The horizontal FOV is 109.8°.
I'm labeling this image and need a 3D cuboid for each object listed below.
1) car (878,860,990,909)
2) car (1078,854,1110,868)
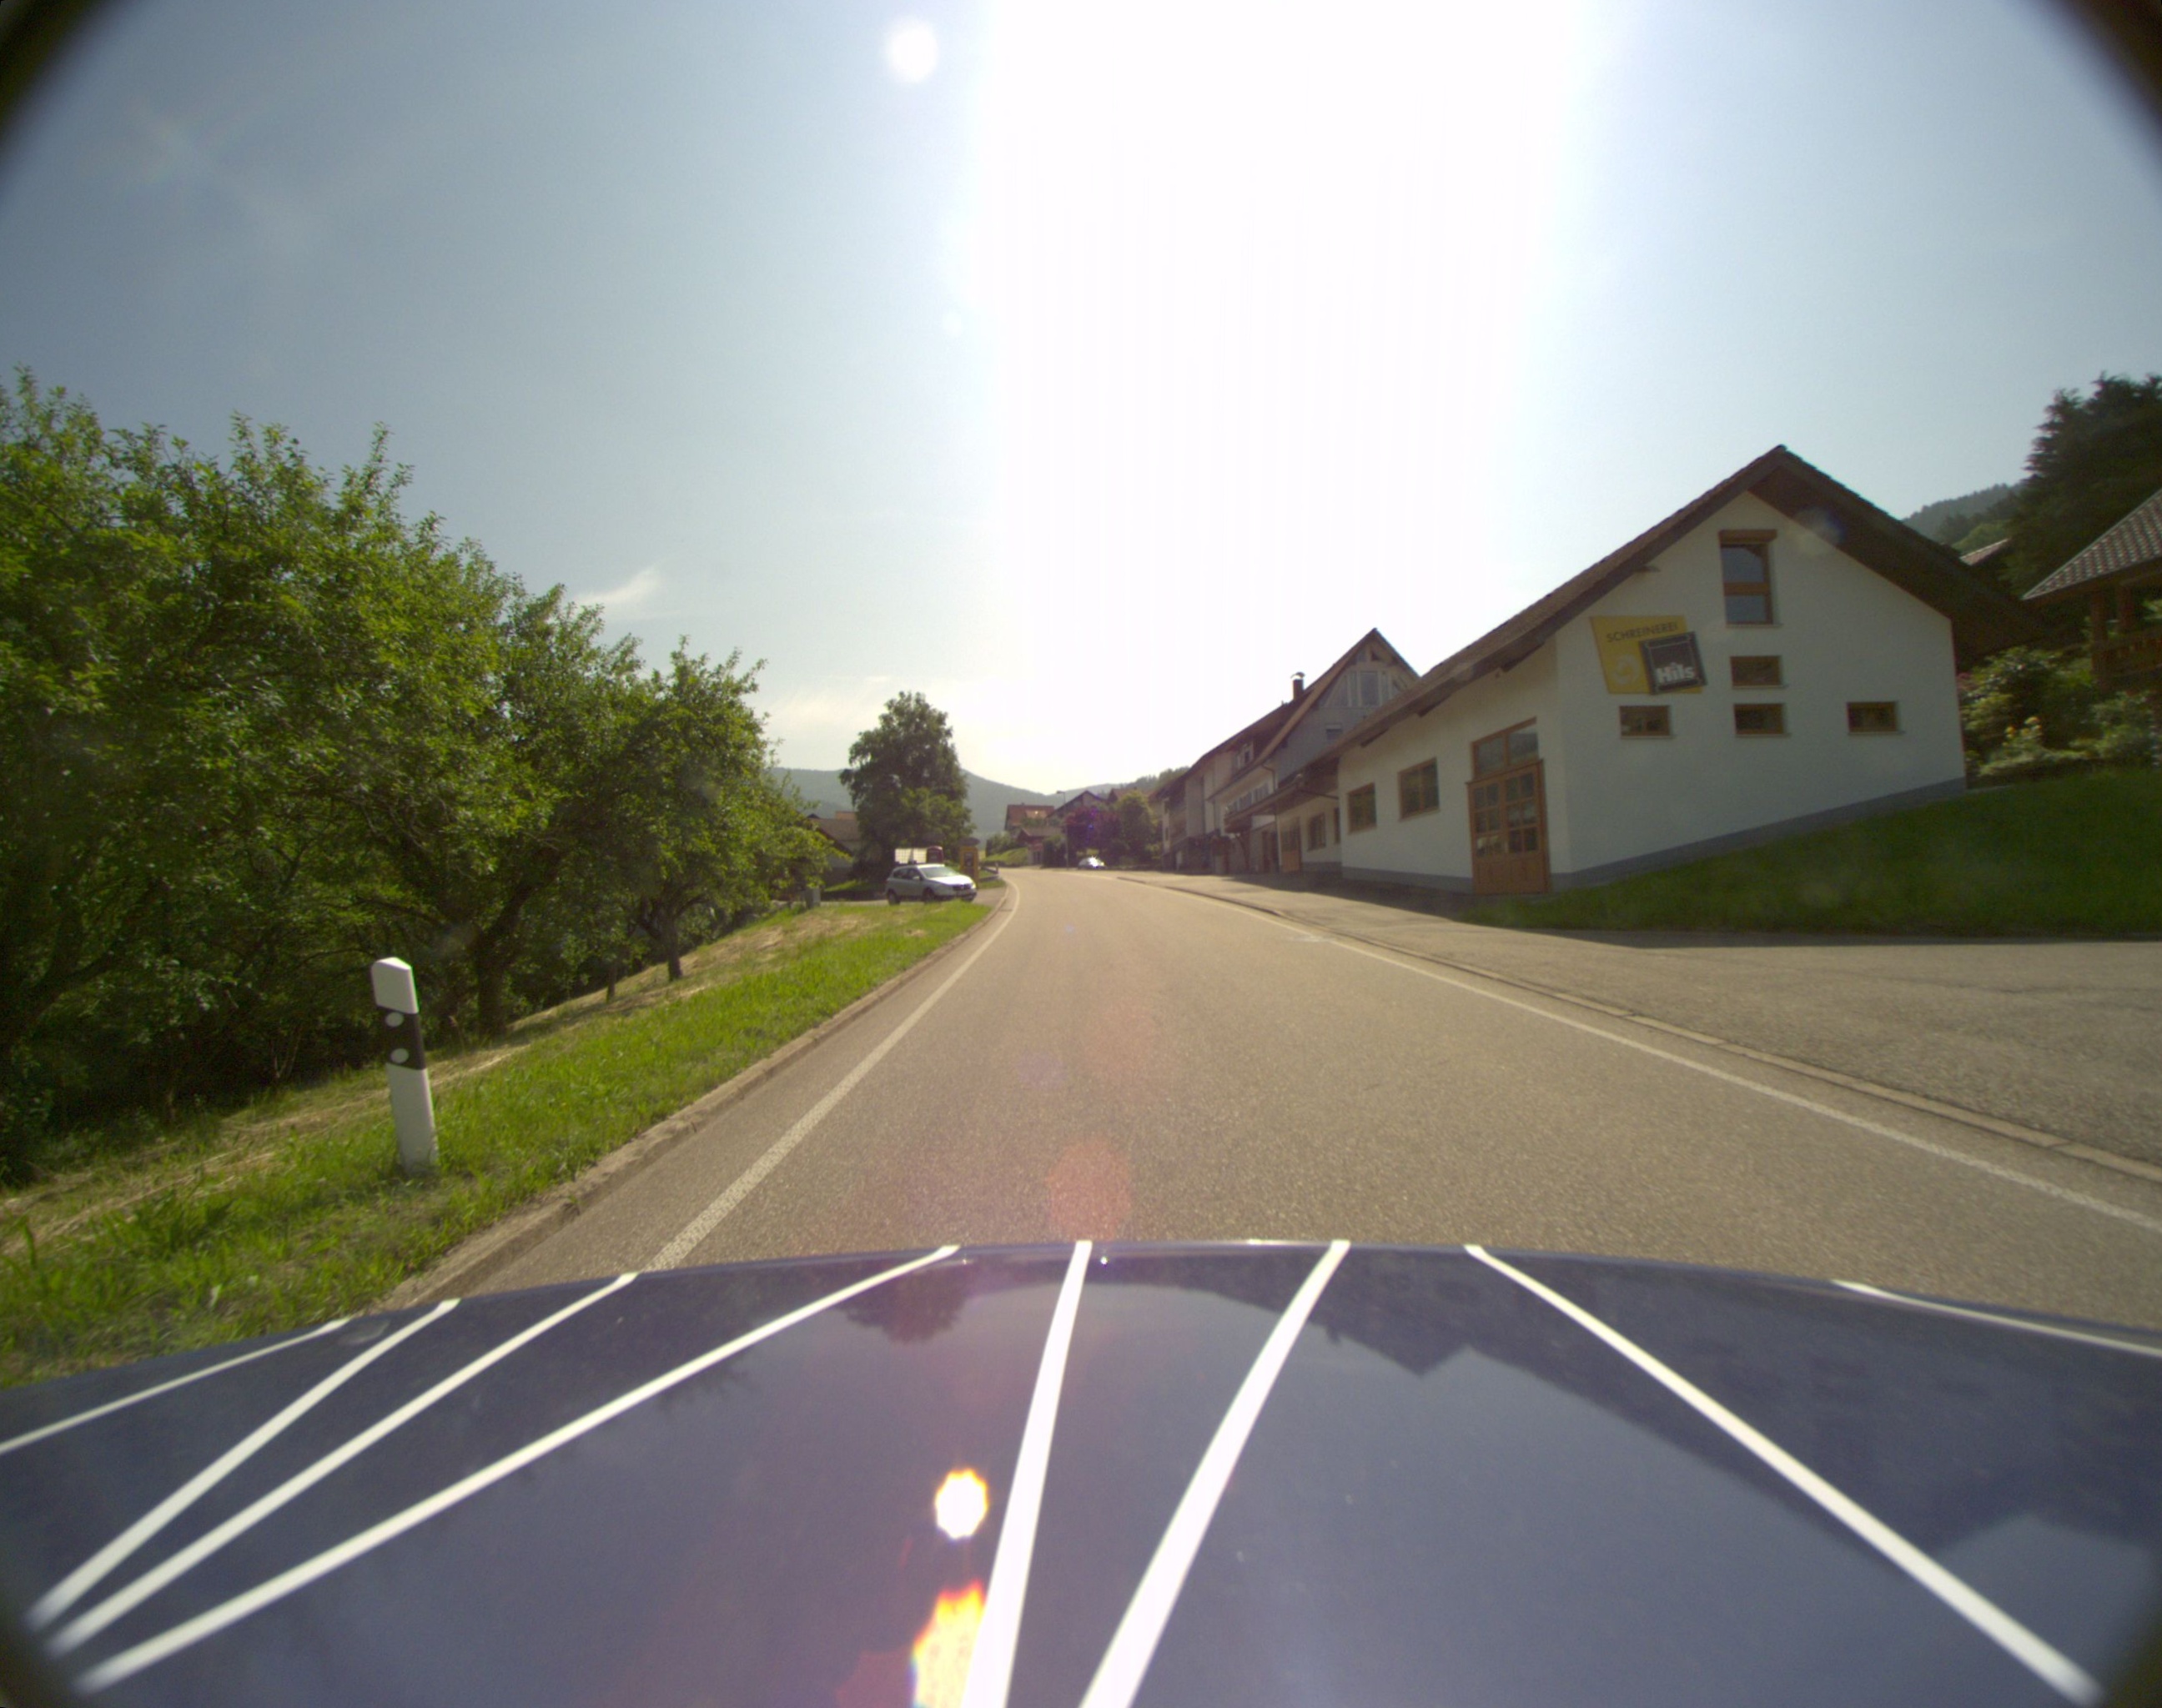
[{"bbox_3d":[-5.599,1.184,28.627,1.909,1.562,4.451,-5,1,-44],"label":"car"},{"bbox_3d":[1.283,0.746,77.371,1.789,1.331,4.689,-1,0,-18],"label":"car"}]
